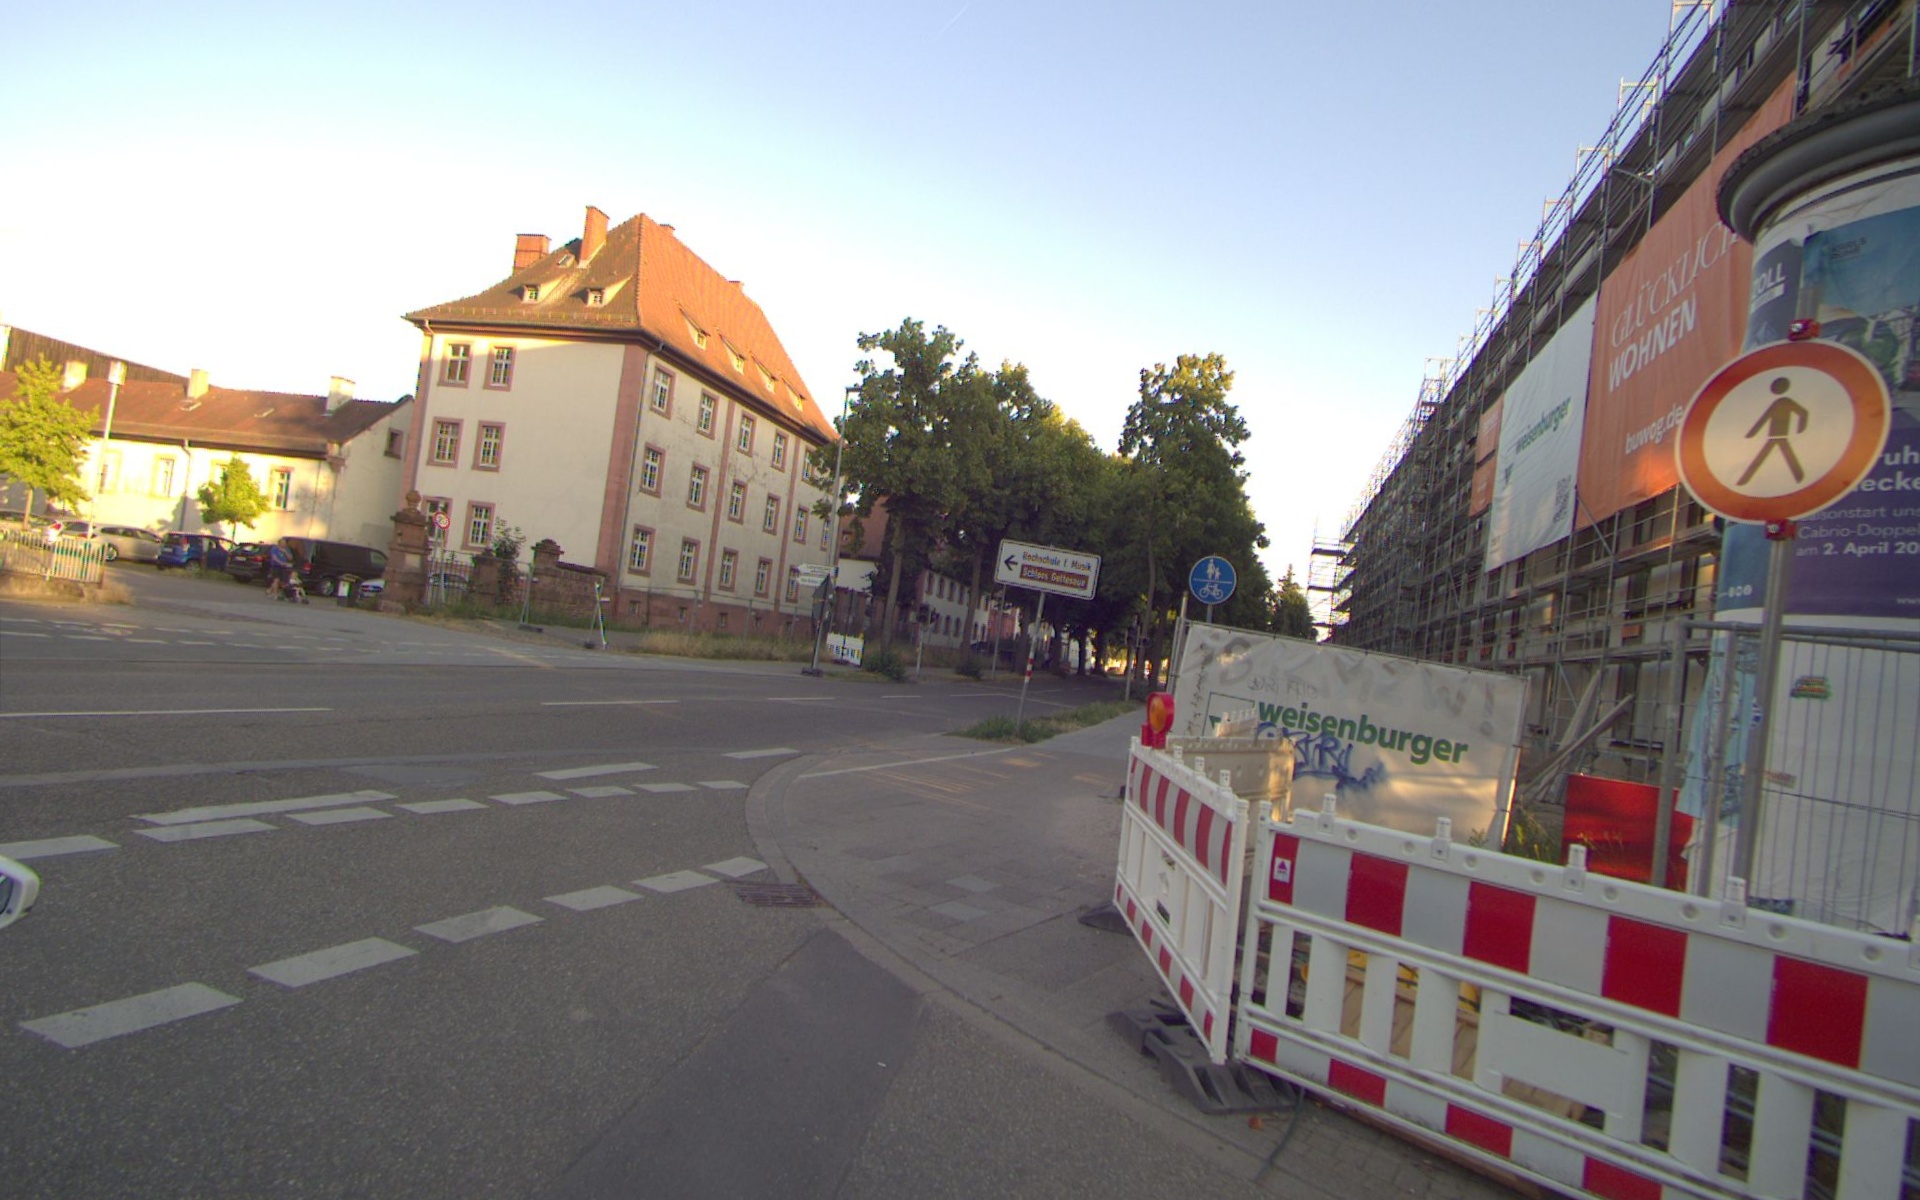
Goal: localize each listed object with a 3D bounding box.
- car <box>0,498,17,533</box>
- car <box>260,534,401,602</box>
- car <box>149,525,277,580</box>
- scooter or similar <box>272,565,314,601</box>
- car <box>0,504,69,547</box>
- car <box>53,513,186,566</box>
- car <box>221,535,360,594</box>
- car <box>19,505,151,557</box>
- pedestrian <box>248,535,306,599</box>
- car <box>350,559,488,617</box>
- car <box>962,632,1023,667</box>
[{"bbox_3d":[-43.945,-3.994,43.842,1.655,1.461,3.758,7,-2,14],"label":"car"},{"bbox_3d":[-23.093,-1.107,37.105,1.962,1.879,4.006,7,-2,14],"label":"car"},{"bbox_3d":[-29.431,-1.833,39.765,1.655,1.546,3.758,7,-2,14],"label":"car"},{"bbox_3d":[-18.759,-0.473,28.307,0.791,0.900,0.516,7,-2,17],"label":"scooter or similar"},{"bbox_3d":[-40.292,-3.273,42.342,1.655,1.461,3.758,7,-2,14],"label":"car"},{"bbox_3d":[-33.985,-2.421,40.795,1.655,1.461,3.758,7,-2,14],"label":"car"},{"bbox_3d":[-25.386,-1.316,38.308,1.962,1.590,4.006,7,-2,14],"label":"car"},{"bbox_3d":[-36.326,-2.816,41.870,1.655,1.461,3.758,7,-2,14],"label":"car"},{"bbox_3d":[-19.507,-0.936,28.748,0.995,1.661,0.753,7,-1,18],"label":"pedestrian"},{"bbox_3d":[-18.880,-0.373,35.312,1.962,1.475,4.006,7,-2,14],"label":"car"},{"bbox_3d":[2.367,3.621,73.350,3.924,2.037,2.003,8,-1,12],"label":"car"}]
